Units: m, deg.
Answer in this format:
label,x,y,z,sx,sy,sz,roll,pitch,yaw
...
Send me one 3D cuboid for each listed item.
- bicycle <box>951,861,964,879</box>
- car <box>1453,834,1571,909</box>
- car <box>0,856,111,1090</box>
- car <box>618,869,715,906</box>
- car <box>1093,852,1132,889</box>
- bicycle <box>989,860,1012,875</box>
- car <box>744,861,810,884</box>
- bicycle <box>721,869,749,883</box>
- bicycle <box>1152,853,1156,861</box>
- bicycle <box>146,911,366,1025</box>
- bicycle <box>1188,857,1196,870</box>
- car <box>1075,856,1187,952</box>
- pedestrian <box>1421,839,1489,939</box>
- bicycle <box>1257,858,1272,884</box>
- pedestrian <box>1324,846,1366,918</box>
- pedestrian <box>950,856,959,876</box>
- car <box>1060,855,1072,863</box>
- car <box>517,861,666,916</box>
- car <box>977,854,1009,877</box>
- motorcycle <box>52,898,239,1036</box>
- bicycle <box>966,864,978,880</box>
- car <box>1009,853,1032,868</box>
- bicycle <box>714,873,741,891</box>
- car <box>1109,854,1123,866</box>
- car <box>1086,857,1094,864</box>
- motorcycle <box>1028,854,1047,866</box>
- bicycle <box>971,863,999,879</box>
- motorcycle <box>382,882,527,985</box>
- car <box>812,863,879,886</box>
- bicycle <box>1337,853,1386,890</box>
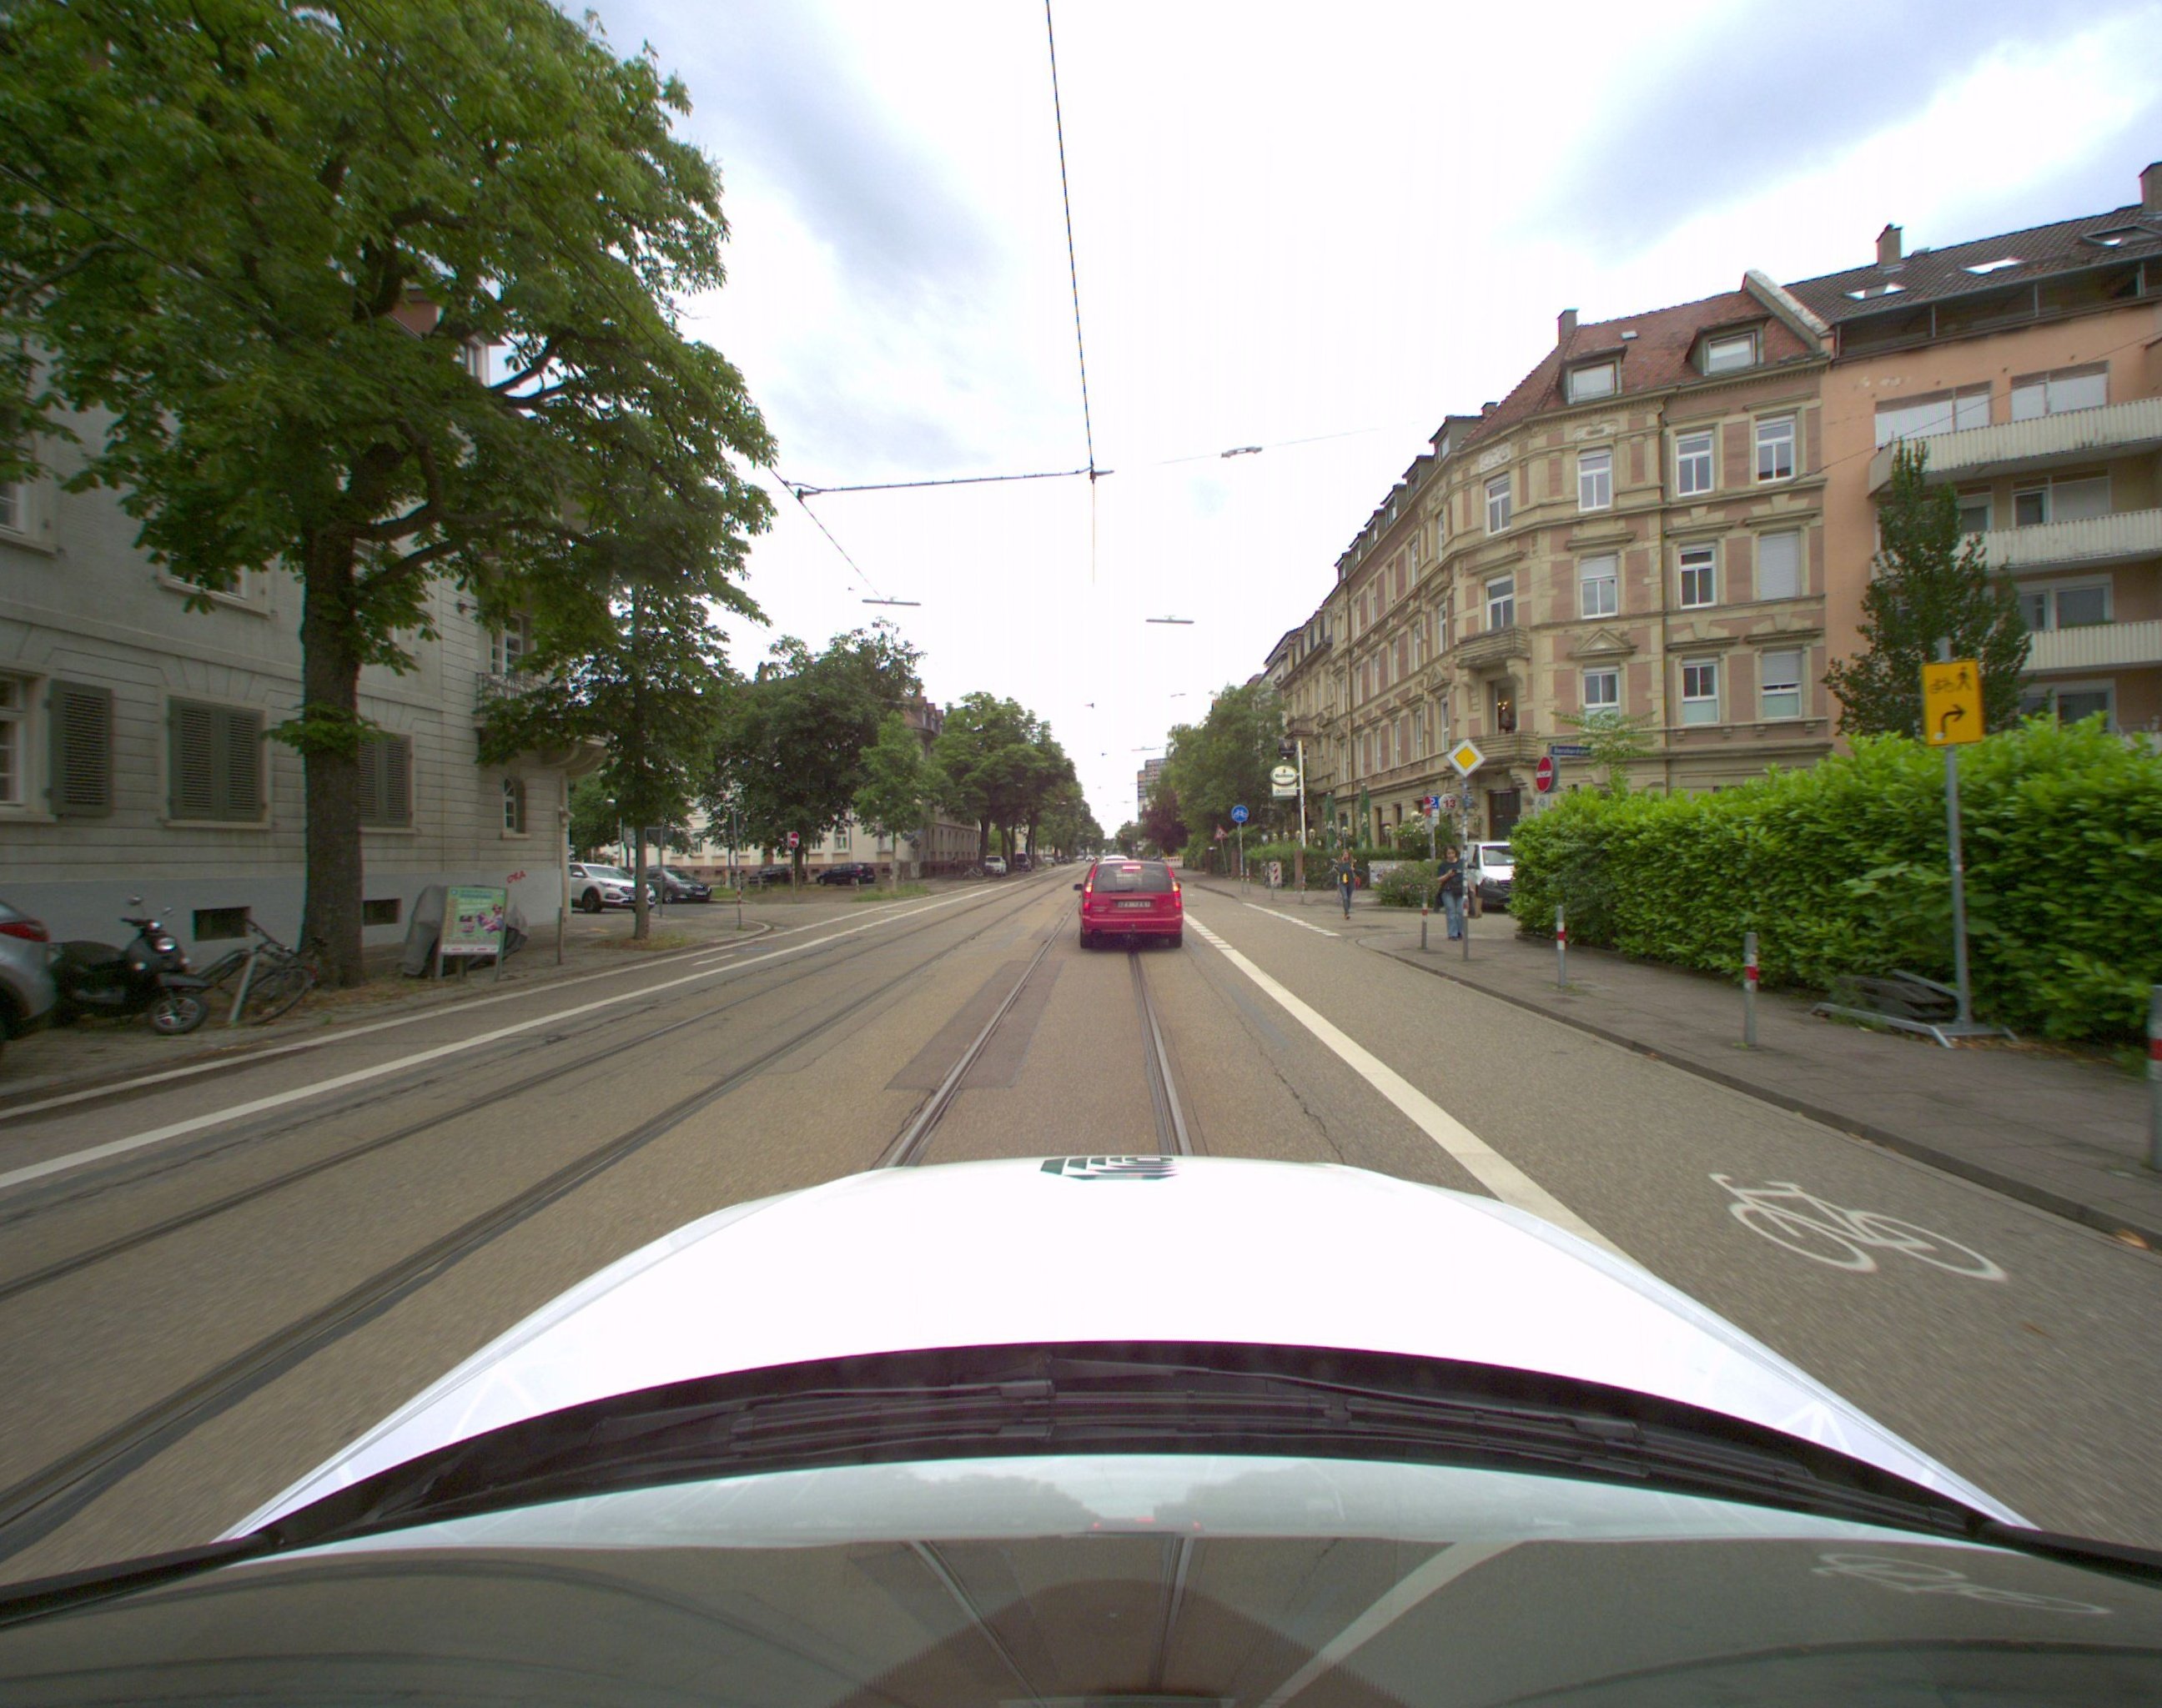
label,x,y,z,sx,sy,sz,roll,pitch,yaw
bicycle,-8.133,1.042,53.727,0.675,1.136,1.928,-1,1,-13
car,12.054,0.449,23.130,2.036,1.877,5.052,-1,0,17
car,-8.738,0.847,4.342,1.830,1.661,4.297,1,0,3
car,-17.099,1.334,33.584,4.018,1.410,1.672,-1,0,31
car,1.558,0.756,38.702,1.711,1.625,3.945,-1,0,4
bicycle,-6.712,1.118,68.073,1.730,1.192,0.655,1,0,16
car,-19.946,1.225,53.427,3.896,1.464,1.716,-1,0,25
bicycle,-25.357,1.625,59.659,2.163,1.035,0.657,-1,-1,29
bicycle,14.192,0.567,158.680,0.549,1.400,1.735,-1,0,2
bicycle,-8.591,1.162,8.531,1.369,1.005,0.931,2,0,6
bicycle,8.966,0.763,65.984,0.477,1.045,1.532,-1,0,2
car,0.824,0.761,14.170,1.682,1.441,3.745,0,0,2
pedestrian,6.463,0.593,14.104,0.789,1.636,0.838,-2,-1,7
bicycle,7.910,0.718,35.180,0.300,1.041,1.849,-1,0,2
pedestrian,6.227,0.654,19.241,0.866,1.656,0.912,-1,0,14
pedestrian,-9.714,0.912,62.513,0.562,1.467,0.723,-1,0,2
car,-2.687,0.895,148.573,1.844,1.563,3.945,-1,0,2
car,-16.207,1.111,26.964,4.461,1.663,1.949,-1,0,23
car,-6.707,0.840,62.578,1.890,1.655,4.226,-1,0,1
motorcycle,-8.892,1.046,7.760,1.278,1.222,0.549,0,0,8
bicycle,-7.106,1.163,53.178,0.481,0.958,1.399,-1,0,4
car,-5.987,0.651,81.506,1.770,1.511,4.241,0,0,3
bicycle,-19.344,1.521,44.557,1.653,0.925,0.451,-1,0,30
car,4.947,0.819,115.479,1.736,1.606,3.999,-1,0,0
car,2.125,1.475,186.635,1.749,1.380,4.027,-1,0,1
motorcycle,-5.539,0.806,103.658,2.243,1.511,0.932,-2,-2,37
bicycle,-6.898,1.223,58.558,1.915,1.121,0.624,1,0,1
motorcycle,-8.868,1.065,11.657,0.539,1.257,2.139,-1,0,-4
car,-14.665,1.267,50.756,3.715,1.307,1.751,-1,0,25
bicycle,10.114,0.632,29.413,1.593,1.277,0.515,-1,0,13
